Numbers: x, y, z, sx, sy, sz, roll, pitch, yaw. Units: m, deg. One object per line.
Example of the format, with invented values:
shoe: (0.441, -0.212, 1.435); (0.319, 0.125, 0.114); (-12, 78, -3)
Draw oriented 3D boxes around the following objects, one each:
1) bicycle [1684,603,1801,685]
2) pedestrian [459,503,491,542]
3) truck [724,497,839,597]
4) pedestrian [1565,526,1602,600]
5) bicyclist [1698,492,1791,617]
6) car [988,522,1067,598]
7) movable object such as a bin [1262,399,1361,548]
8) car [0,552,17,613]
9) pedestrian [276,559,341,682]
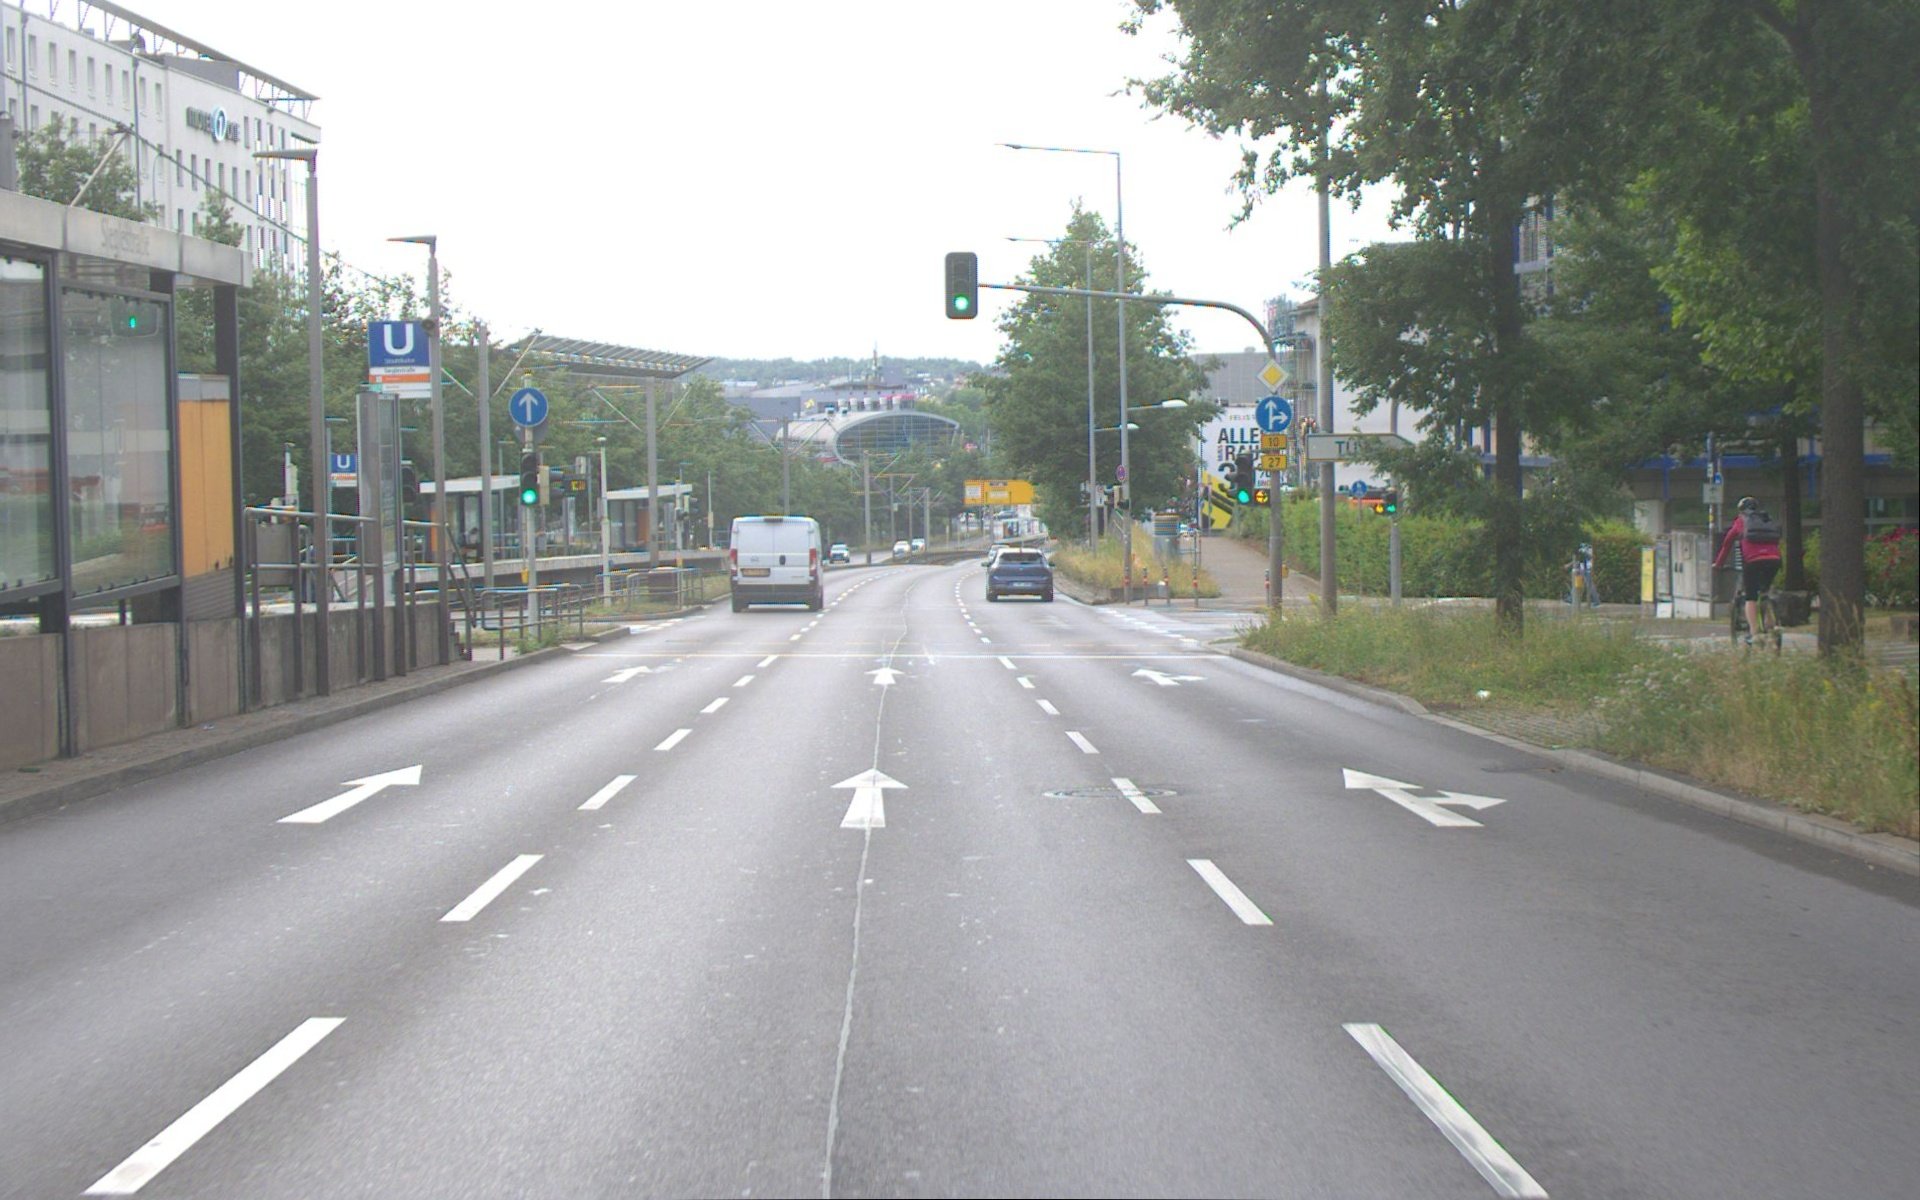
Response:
bicycle: (8.279, 0.450, 36.466); (0.667, 0.806, 2.319); (1, 1, -1)
pedestrian: (-16.414, -2.635, 116.419); (0.961, 1.295, 0.684); (-1, 1, 1)
truck: (-4.206, -1.248, 81.732); (2.360, 2.254, 5.306); (1, 1, 1)
pedestrian: (13.972, -0.840, 77.073); (0.554, 1.646, 0.832); (-1, 1, -10)
bicyclist: (8.302, -0.485, 36.401); (0.655, 1.284, 1.219); (1, 1, -1)
car: (1.863, -1.096, 93.876); (1.994, 2.007, 3.934); (1, 1, 3)
movable object such as a bin: (13.894, -4.925, 136.402); (3.290, 5.665, 8.763); (1, 1, 2)
car: (-23.280, -0.382, 79.918); (1.728, 1.418, 3.780); (-1, 1, -1)
pedestrian: (-8.861, 0.265, 46.728); (0.700, 1.645, 0.649); (0, 1, -29)
